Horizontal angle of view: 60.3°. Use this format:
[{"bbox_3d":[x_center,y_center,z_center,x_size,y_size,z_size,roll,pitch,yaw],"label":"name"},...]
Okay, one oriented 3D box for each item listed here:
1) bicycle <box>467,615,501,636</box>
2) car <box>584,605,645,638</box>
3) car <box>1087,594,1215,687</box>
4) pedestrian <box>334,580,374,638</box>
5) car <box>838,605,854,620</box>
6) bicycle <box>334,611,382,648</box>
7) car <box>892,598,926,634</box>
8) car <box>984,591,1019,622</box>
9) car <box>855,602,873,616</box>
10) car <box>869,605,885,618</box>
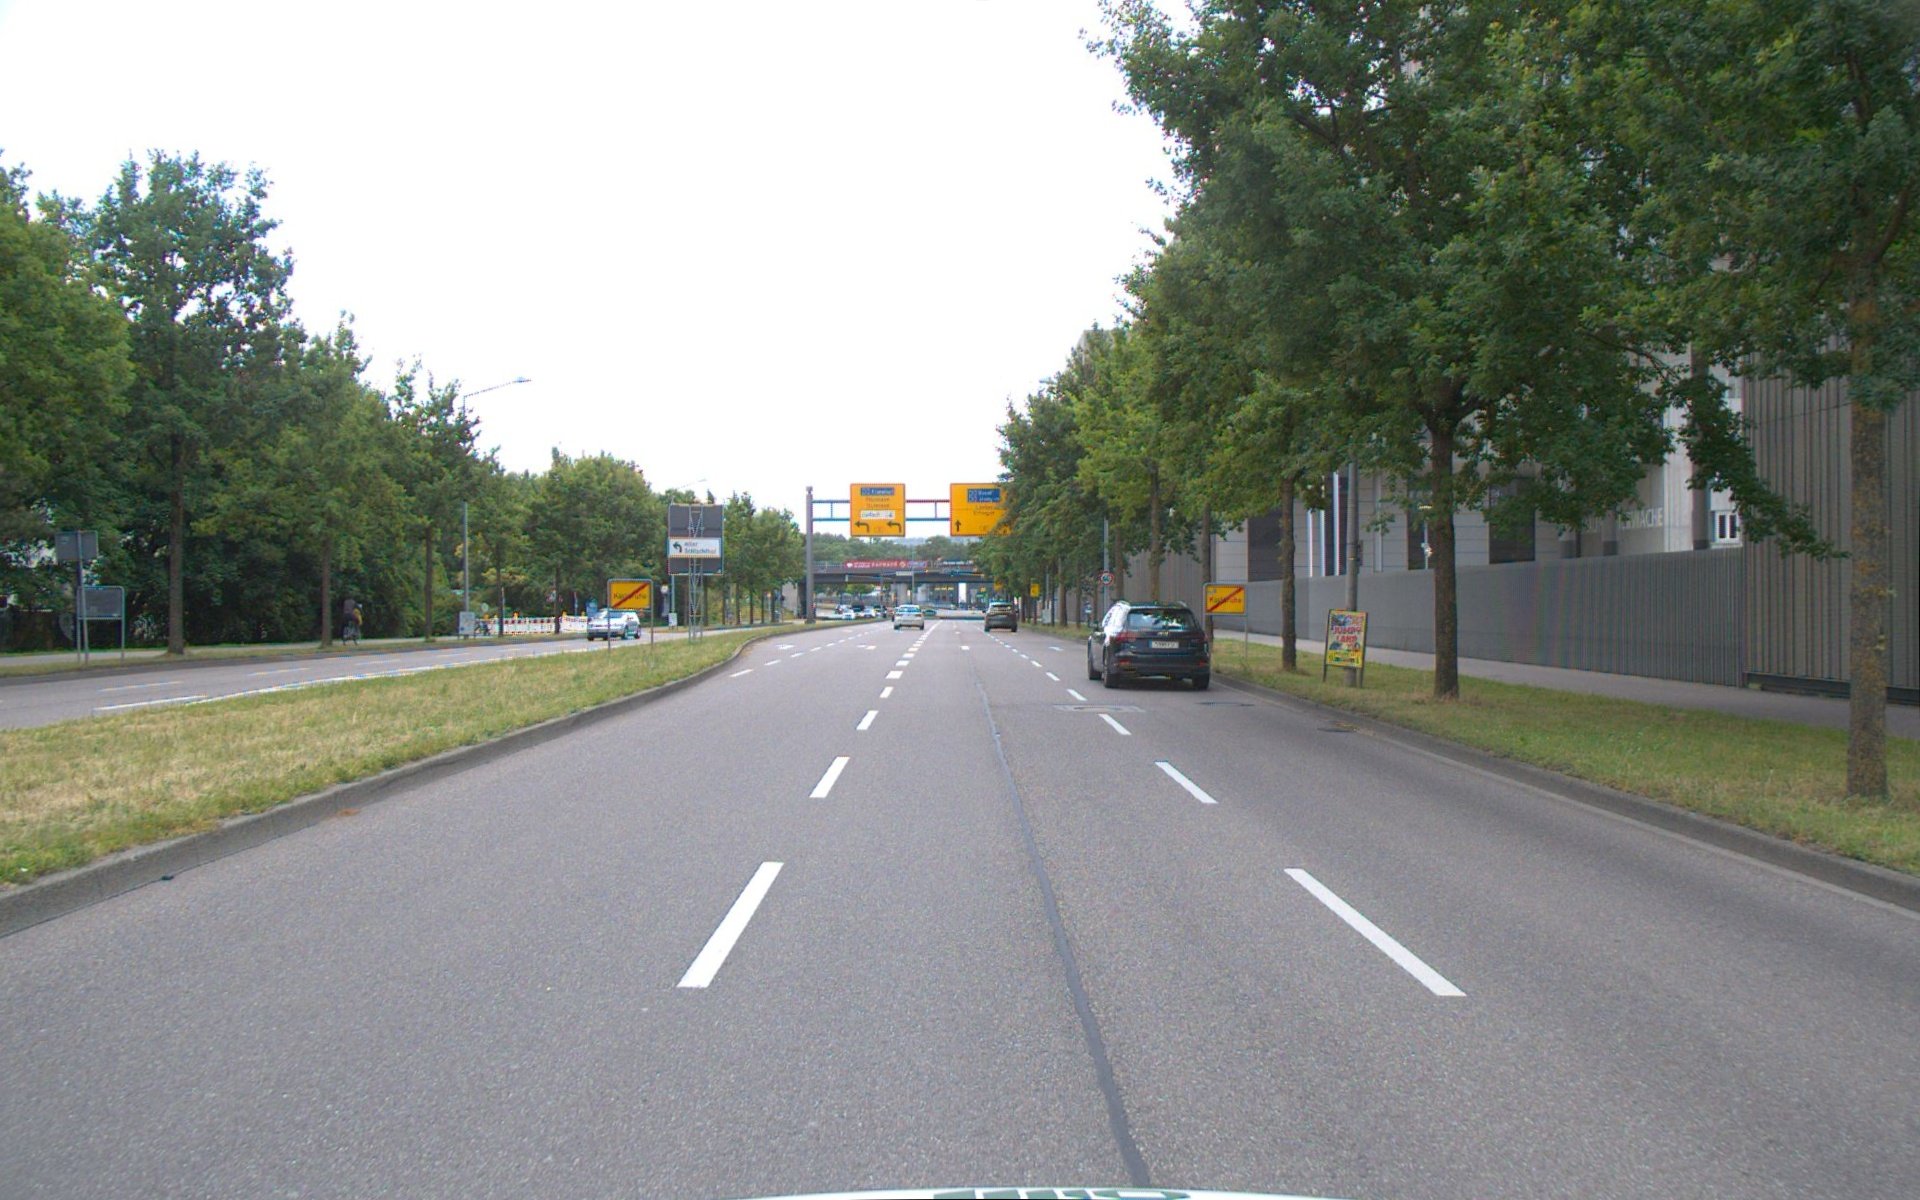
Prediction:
[{"bbox_3d":[-25.661,1.381,89.112,0.876,1.078,2.329,0,-1,-40],"label":"bicycle"},{"bbox_3d":[-15.356,0.945,73.692,1.606,1.352,4.383,-1,0,3],"label":"car"},{"bbox_3d":[3.247,0.662,28.709,1.650,1.489,3.999,1,0,-2],"label":"car"},{"bbox_3d":[-21.689,0.319,59.212,0.950,2.049,1.249,0,0,0],"label":"pedestrian"},{"bbox_3d":[-15.023,1.658,218.133,1.953,1.814,3.998,1,-1,-1],"label":"car"},{"bbox_3d":[-21.535,1.029,59.199,0.791,1.248,2.502,-1,0,0],"label":"bicycle"},{"bbox_3d":[-3.084,0.941,99.050,1.954,2.049,3.997,1,0,-3],"label":"car"},{"bbox_3d":[2.425,0.363,95.706,1.952,1.654,4.310,-1,1,2],"label":"car"},{"bbox_3d":[-12.150,1.143,210.288,1.952,1.646,4.000,-1,0,1],"label":"car"},{"bbox_3d":[-11.760,1.598,234.266,1.953,1.747,3.999,1,-1,-1],"label":"car"}]
